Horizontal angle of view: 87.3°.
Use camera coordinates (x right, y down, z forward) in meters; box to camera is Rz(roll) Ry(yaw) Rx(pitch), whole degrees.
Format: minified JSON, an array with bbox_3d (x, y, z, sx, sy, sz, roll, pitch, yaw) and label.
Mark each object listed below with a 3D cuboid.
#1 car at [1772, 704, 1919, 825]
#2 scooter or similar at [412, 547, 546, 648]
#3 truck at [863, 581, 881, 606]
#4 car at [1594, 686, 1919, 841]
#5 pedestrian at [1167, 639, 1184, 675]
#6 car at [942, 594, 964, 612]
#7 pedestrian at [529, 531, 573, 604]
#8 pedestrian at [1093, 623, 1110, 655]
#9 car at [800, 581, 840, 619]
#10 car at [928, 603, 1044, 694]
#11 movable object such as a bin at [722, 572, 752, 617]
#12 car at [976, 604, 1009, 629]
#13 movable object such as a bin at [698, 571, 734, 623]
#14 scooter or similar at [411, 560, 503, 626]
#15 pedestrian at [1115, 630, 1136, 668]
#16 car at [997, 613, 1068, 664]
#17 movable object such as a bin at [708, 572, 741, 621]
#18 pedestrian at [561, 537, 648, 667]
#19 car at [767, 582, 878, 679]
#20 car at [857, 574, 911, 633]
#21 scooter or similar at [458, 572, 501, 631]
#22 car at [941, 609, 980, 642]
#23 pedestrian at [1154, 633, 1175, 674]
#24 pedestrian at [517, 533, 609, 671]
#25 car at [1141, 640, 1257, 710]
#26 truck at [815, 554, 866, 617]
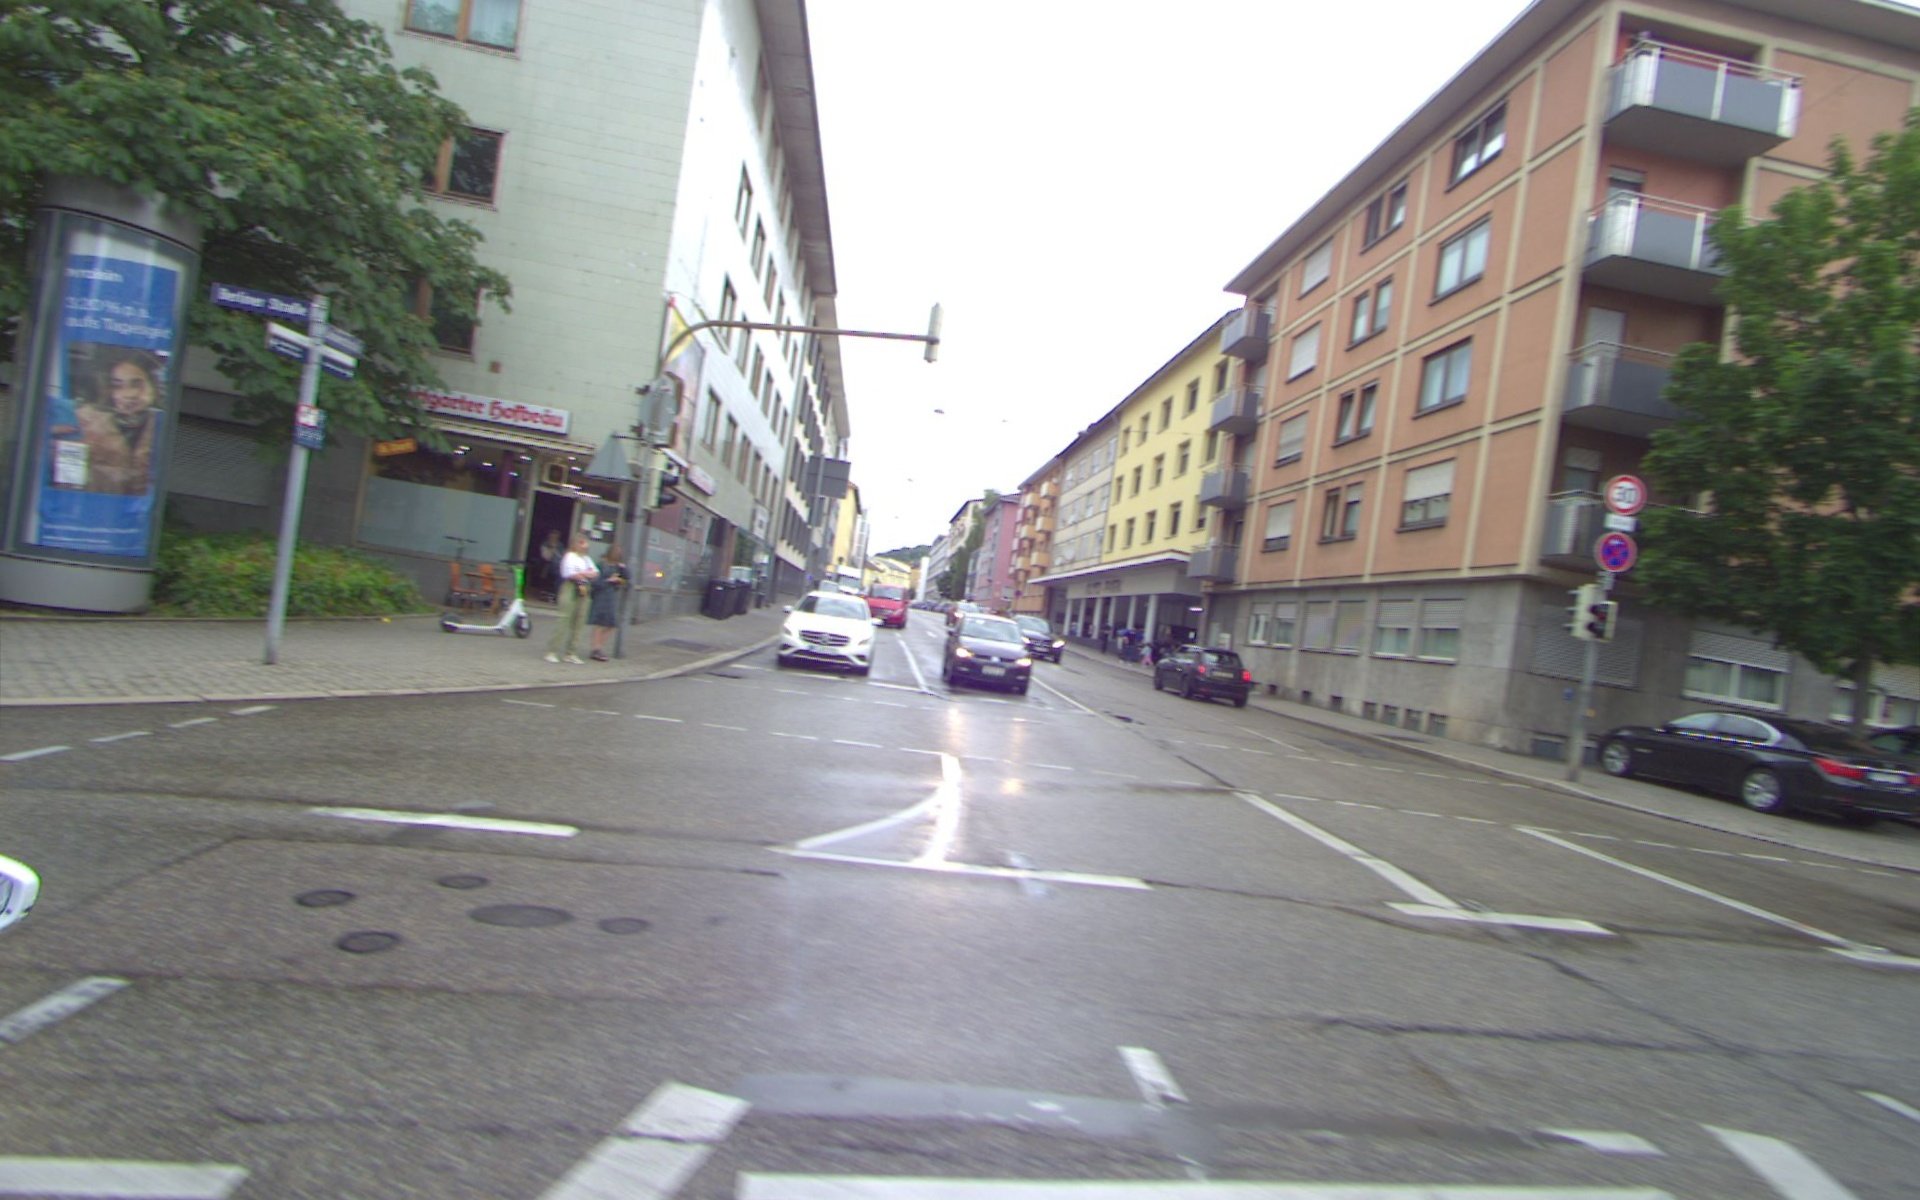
[{"bbox_3d":[15.937,2.805,16.328,1.957,1.680,4.000,8,-1,-3],"label":"car"},{"bbox_3d":[-6.998,-0.032,14.679,1.549,1.203,0.496,11,-3,-35],"label":"scooter or similar"},{"bbox_3d":[-16.546,-1.167,189.530,2.767,3.873,8.148,9,-3,-3],"label":"truck"},{"bbox_3d":[13.036,2.538,16.507,1.817,1.573,4.792,8,0,-4],"label":"car"},{"bbox_3d":[8.899,2.351,41.531,0.358,1.417,0.369,9,3,-5],"label":"pedestrian"},{"bbox_3d":[-0.817,0.331,113.043,1.987,1.579,4.002,10,-3,-3],"label":"car"},{"bbox_3d":[-8.476,-0.663,20.852,0.512,1.415,0.578,9,-2,-9],"label":"pedestrian"},{"bbox_3d":[7.345,2.016,52.166,0.513,1.576,0.568,9,3,-5],"label":"pedestrian"},{"bbox_3d":[-7.038,0.030,50.864,1.699,1.621,3.998,8,-2,-6],"label":"car"},{"bbox_3d":[0.437,0.960,20.977,1.817,1.506,3.998,7,-1,-5],"label":"car"},{"bbox_3d":[-7.233,-0.169,32.681,0.688,1.330,0.782,9,-2,-6],"label":"movable object such as a bin"},{"bbox_3d":[2.589,1.352,80.764,1.987,1.579,5.158,10,-3,-3],"label":"car"},{"bbox_3d":[-6.805,-0.076,28.133,0.688,1.330,0.782,9,-2,-6],"label":"movable object such as a bin"},{"bbox_3d":[-8.160,-0.122,16.313,1.441,0.852,0.550,8,-2,32],"label":"scooter or similar"},{"bbox_3d":[7.189,2.127,43.704,0.513,1.538,0.568,9,3,-5],"label":"pedestrian"},{"bbox_3d":[2.562,1.372,36.592,1.817,1.506,3.999,8,-2,-5],"label":"car"},{"bbox_3d":[-7.004,-0.102,29.976,0.688,1.330,0.782,9,-2,-6],"label":"movable object such as a bin"},{"bbox_3d":[-5.024,0.027,14.216,0.705,1.667,0.749,8,2,-42],"label":"pedestrian"},{"bbox_3d":[-2.630,0.588,20.055,1.817,1.530,3.998,7,-1,-5],"label":"car"},{"bbox_3d":[-3.437,0.213,45.421,2.035,2.267,4.619,7,-2,-4],"label":"car"},{"bbox_3d":[-7.859,0.010,16.431,0.455,0.852,1.313,10,-3,-28],"label":"scooter or similar"},{"bbox_3d":[-0.019,1.549,60.177,1.817,1.693,4.000,7,-2,-4],"label":"car"},{"bbox_3d":[8.423,2.213,41.485,0.472,1.586,0.556,9,3,-5],"label":"pedestrian"},{"bbox_3d":[-5.289,0.025,13.388,0.705,1.667,0.749,8,2,-42],"label":"pedestrian"},{"bbox_3d":[6.411,1.983,27.454,1.637,1.437,4.068,7,-1,-6],"label":"car"},{"bbox_3d":[-8.860,-0.951,75.235,2.767,3.873,8.148,9,-3,-3],"label":"truck"}]
